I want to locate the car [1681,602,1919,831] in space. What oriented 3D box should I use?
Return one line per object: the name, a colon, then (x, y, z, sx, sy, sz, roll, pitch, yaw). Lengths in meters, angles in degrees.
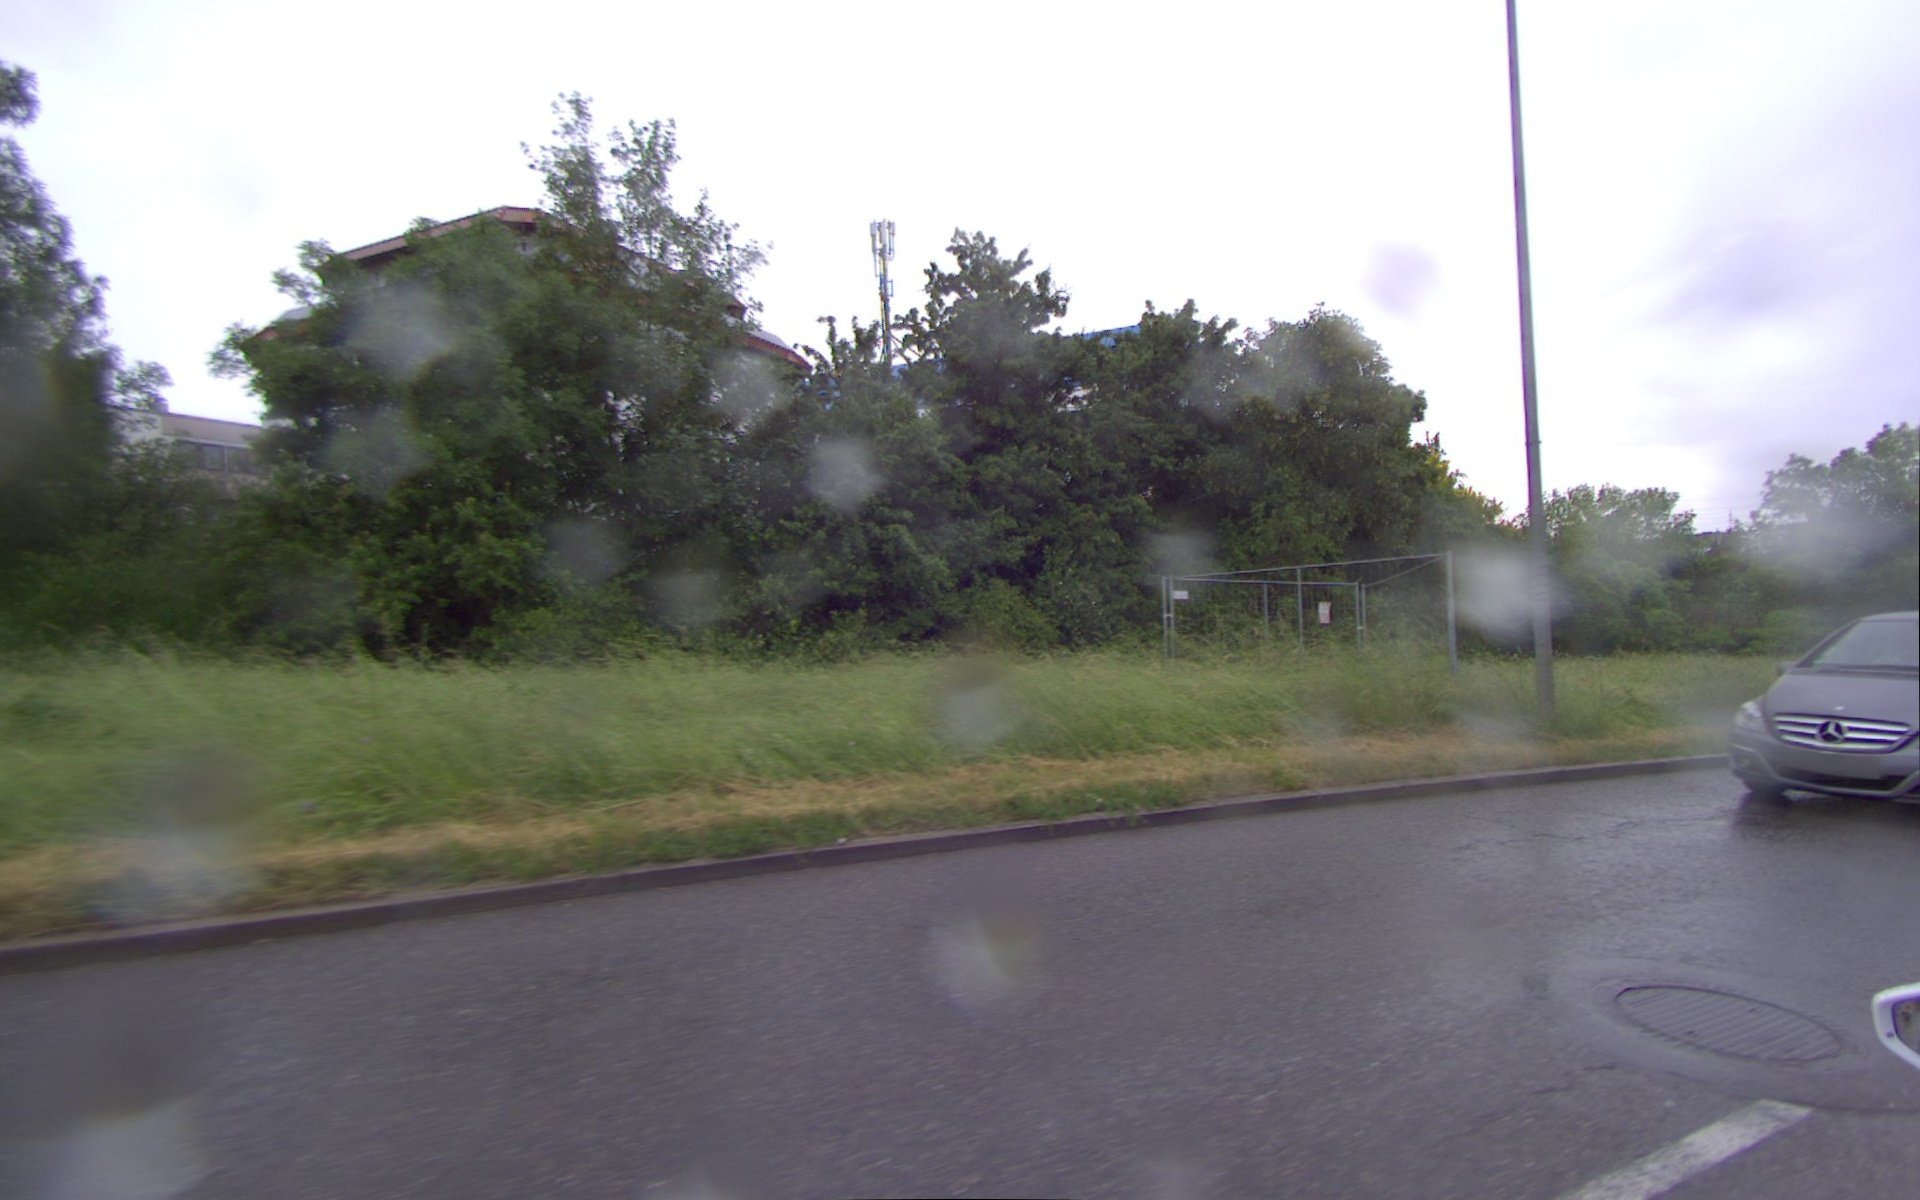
car: (8.244, 0.851, 8.388, 4.210, 1.572, 1.858, 1, 0, -26)
